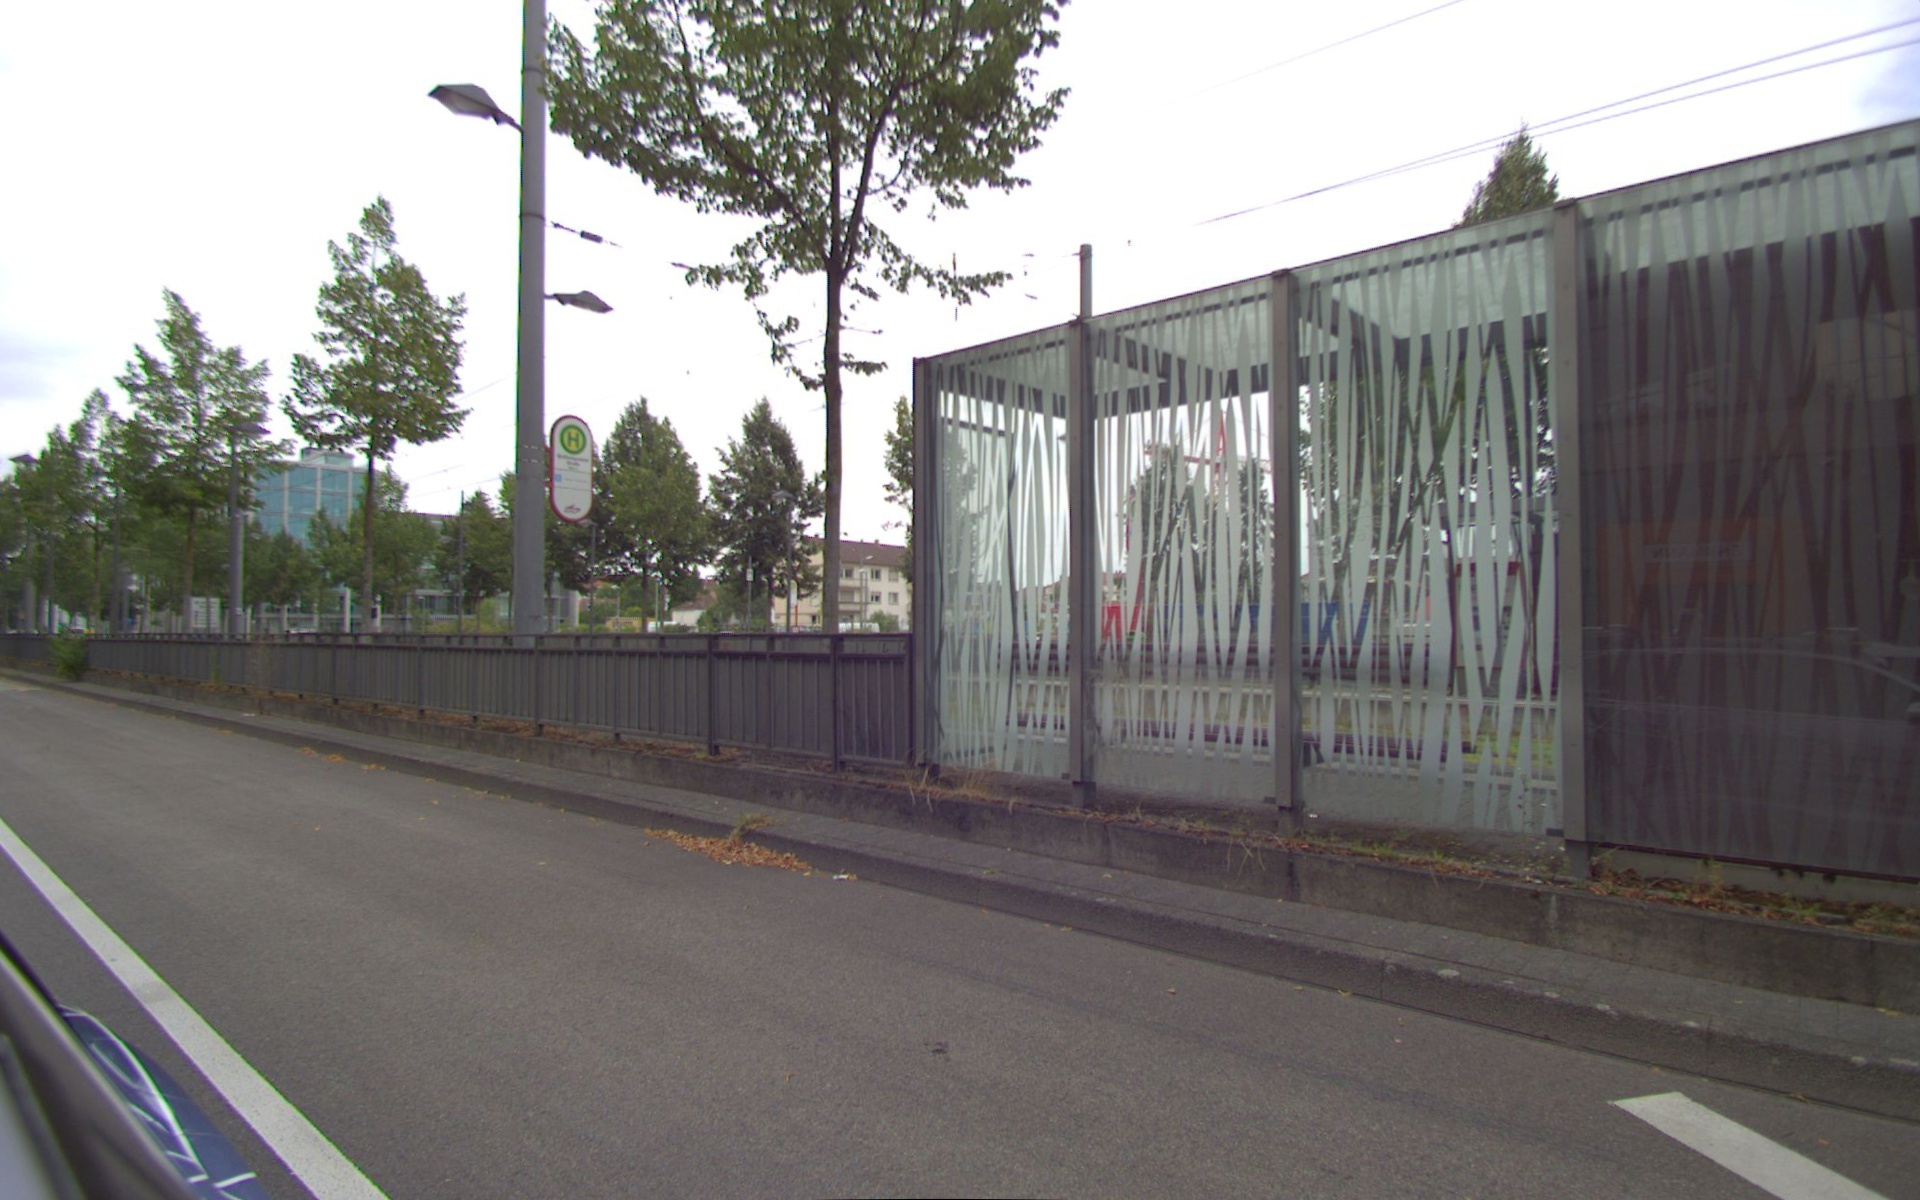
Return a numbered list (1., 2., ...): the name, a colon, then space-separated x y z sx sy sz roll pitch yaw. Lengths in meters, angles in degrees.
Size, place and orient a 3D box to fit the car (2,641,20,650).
1. car: -153.200 7.334 163.373 3.864 1.468 1.730 -2 -3 42
